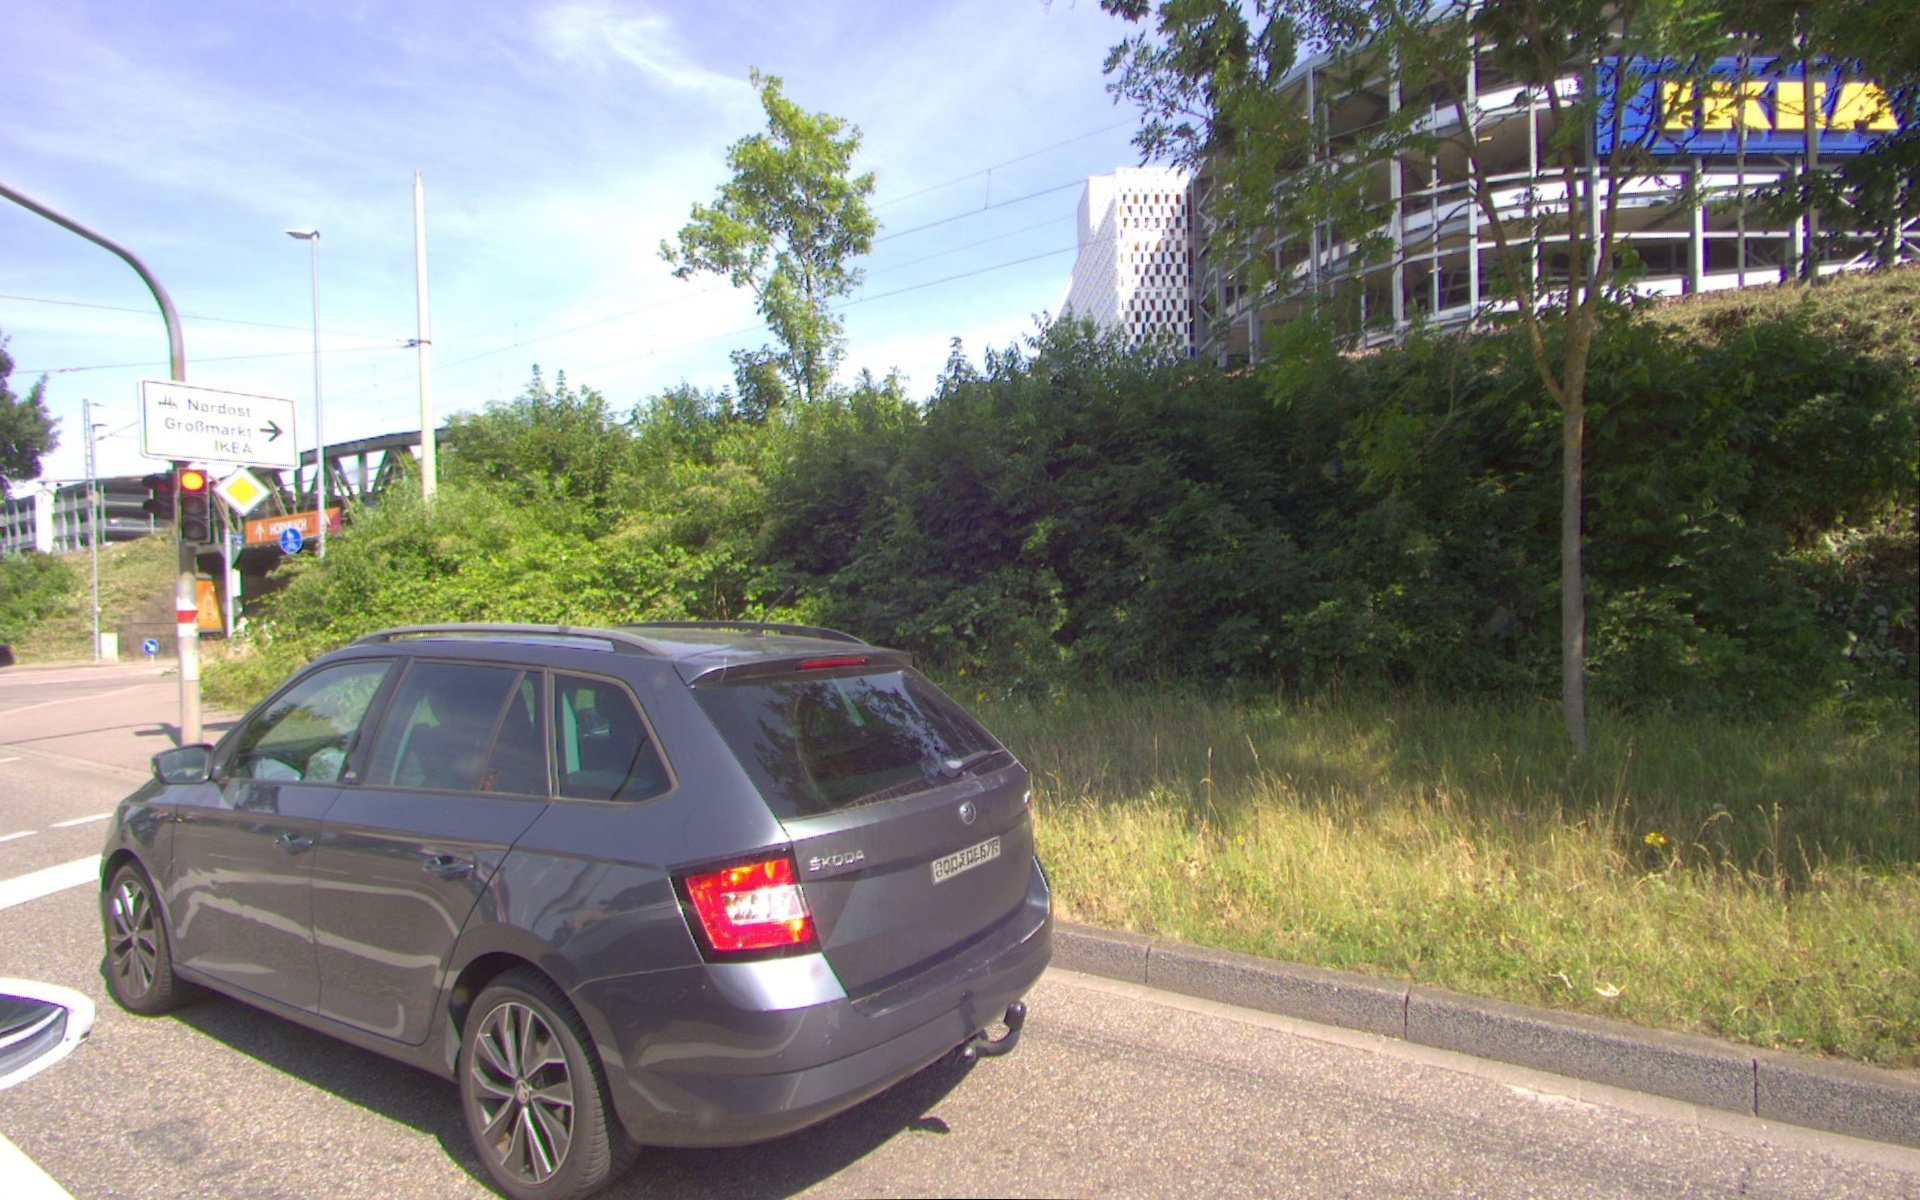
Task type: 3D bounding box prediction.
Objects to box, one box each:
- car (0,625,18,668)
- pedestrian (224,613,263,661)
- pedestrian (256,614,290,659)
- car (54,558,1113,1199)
[{"bbox_3d":[-35.403,1.655,34.022,1.881,1.482,4.611,-1,0,20],"label":"car"},{"bbox_3d":[-24.995,1.277,34.948,0.766,1.633,0.866,-1,0,32],"label":"pedestrian"},{"bbox_3d":[-24.499,1.290,35.704,0.766,1.600,0.728,-1,0,32],"label":"pedestrian"},{"bbox_3d":[-1.597,0.708,3.746,3.978,1.472,1.671,-1,-2,33],"label":"car"}]
